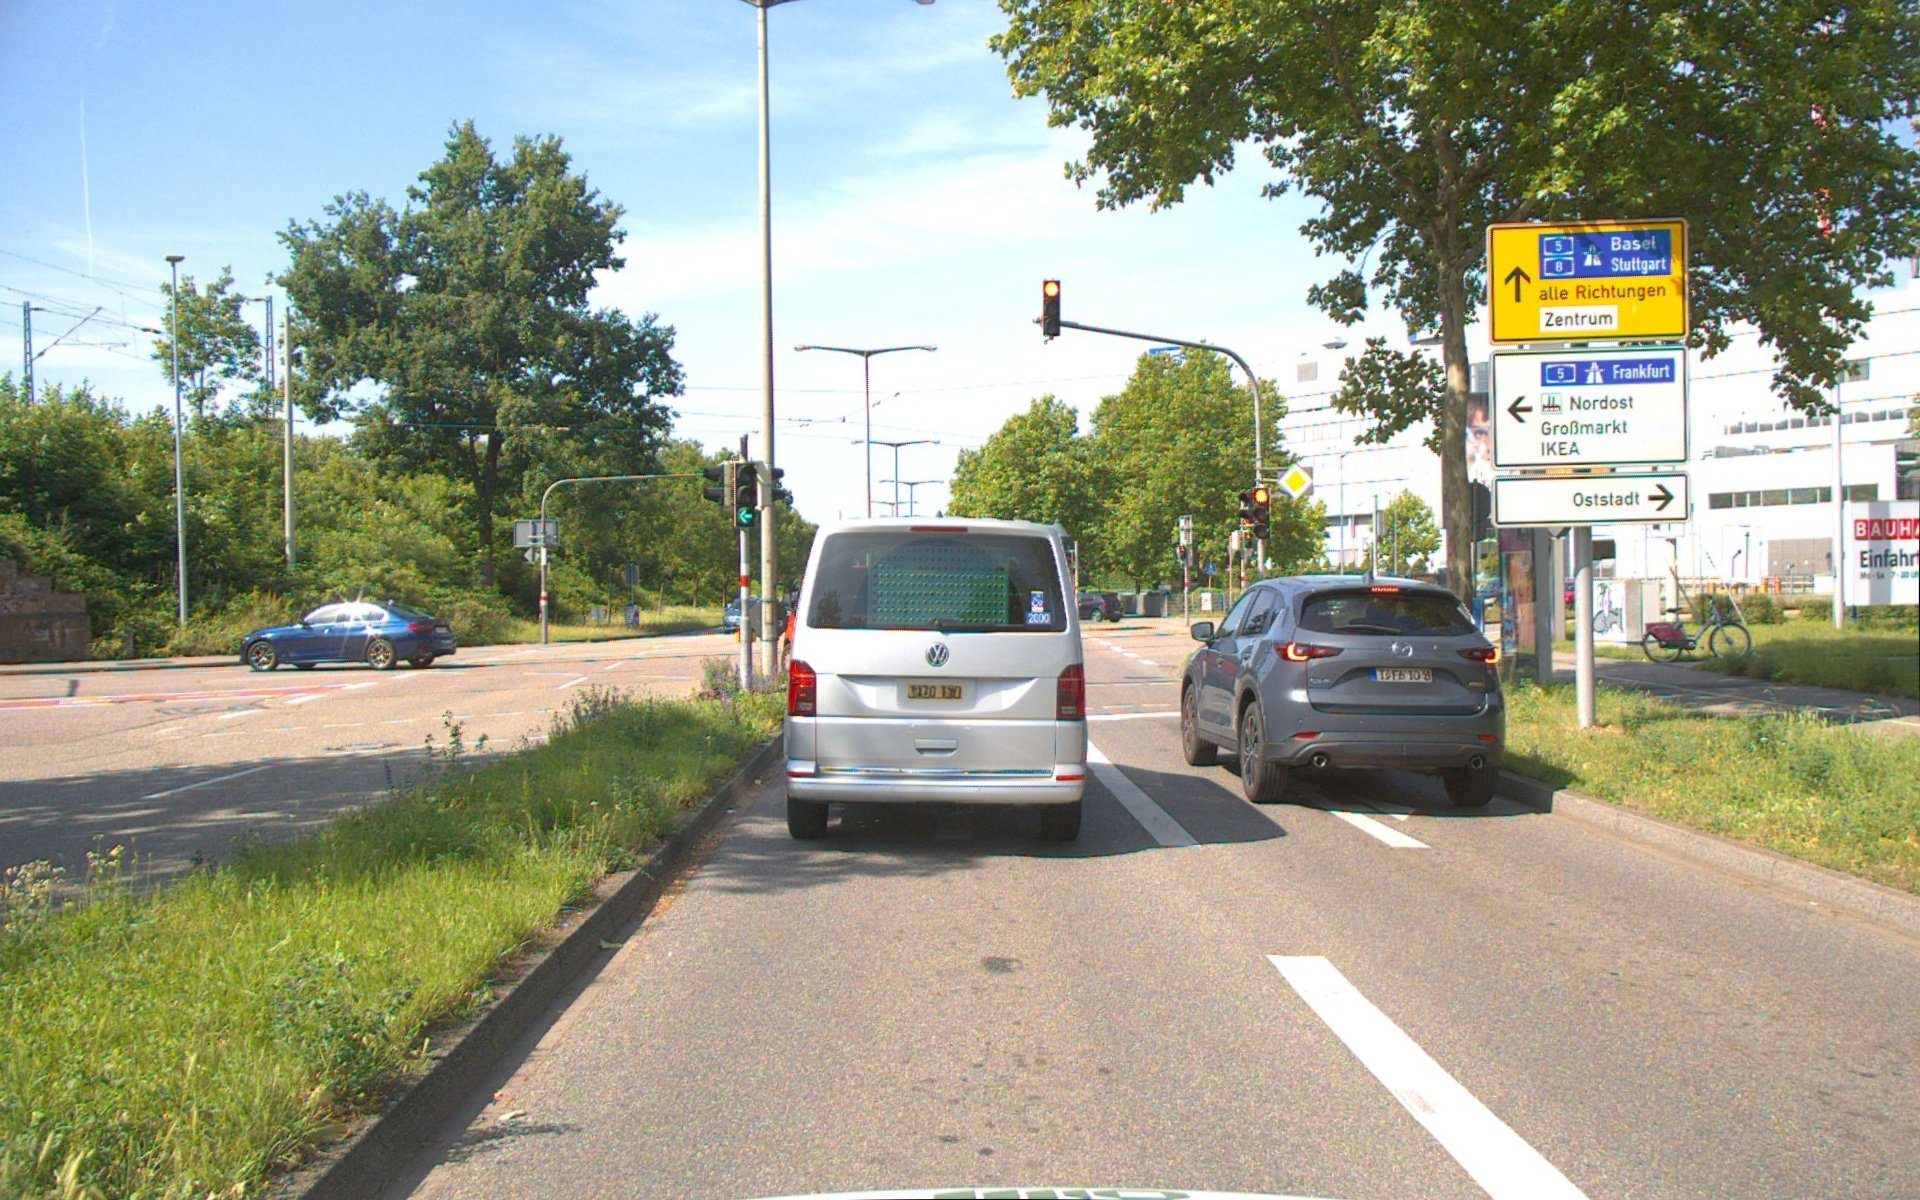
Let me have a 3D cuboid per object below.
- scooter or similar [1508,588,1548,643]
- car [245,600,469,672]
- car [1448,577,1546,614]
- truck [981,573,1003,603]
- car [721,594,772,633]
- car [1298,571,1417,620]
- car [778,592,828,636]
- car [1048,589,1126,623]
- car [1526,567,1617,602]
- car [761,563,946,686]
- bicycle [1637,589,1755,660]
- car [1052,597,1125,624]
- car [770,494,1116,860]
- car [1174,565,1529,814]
[{"bbox_3d":[12.141,0.316,35.385,0.416,1.146,1.123,-1,0,-2],"label":"scooter or similar"},{"bbox_3d":[-13.045,0.771,35.884,4.219,1.421,1.794,-1,0,11],"label":"car"},{"bbox_3d":[23.384,-0.205,71.958,4.578,1.469,1.758,-2,0,-38],"label":"car"},{"bbox_3d":[5.128,-1.907,259.993,3.125,4.431,13.151,-1,0,2],"label":"truck"},{"bbox_3d":[-9.065,0.550,70.374,1.813,1.588,3.998,-1,0,-3],"label":"car"},{"bbox_3d":[14.887,-0.178,61.855,4.578,1.718,1.890,-2,0,-38],"label":"car"},{"bbox_3d":[-6.140,0.520,65.048,1.773,1.633,4.375,-1,0,-4],"label":"car"},{"bbox_3d":[6.216,0.304,80.889,3.519,1.593,2.001,1,0,15],"label":"car"},{"bbox_3d":[27.858,-0.723,75.292,4.578,1.469,1.758,-2,0,-38],"label":"car"},{"bbox_3d":[-1.971,0.396,29.081,1.941,1.958,4.530,-1,0,-22],"label":"car"},{"bbox_3d":[12.561,0.422,28.260,1.748,1.127,0.504,-3,0,18],"label":"bicycle"},{"bbox_3d":[6.294,0.511,80.886,3.181,1.258,1.645,-1,0,30],"label":"car"},{"bbox_3d":[-0.130,0.419,11.668,1.902,2.006,5.021,0,0,-1],"label":"car"},{"bbox_3d":[2.985,0.612,13.606,1.730,1.688,4.495,1,0,-2],"label":"car"}]
